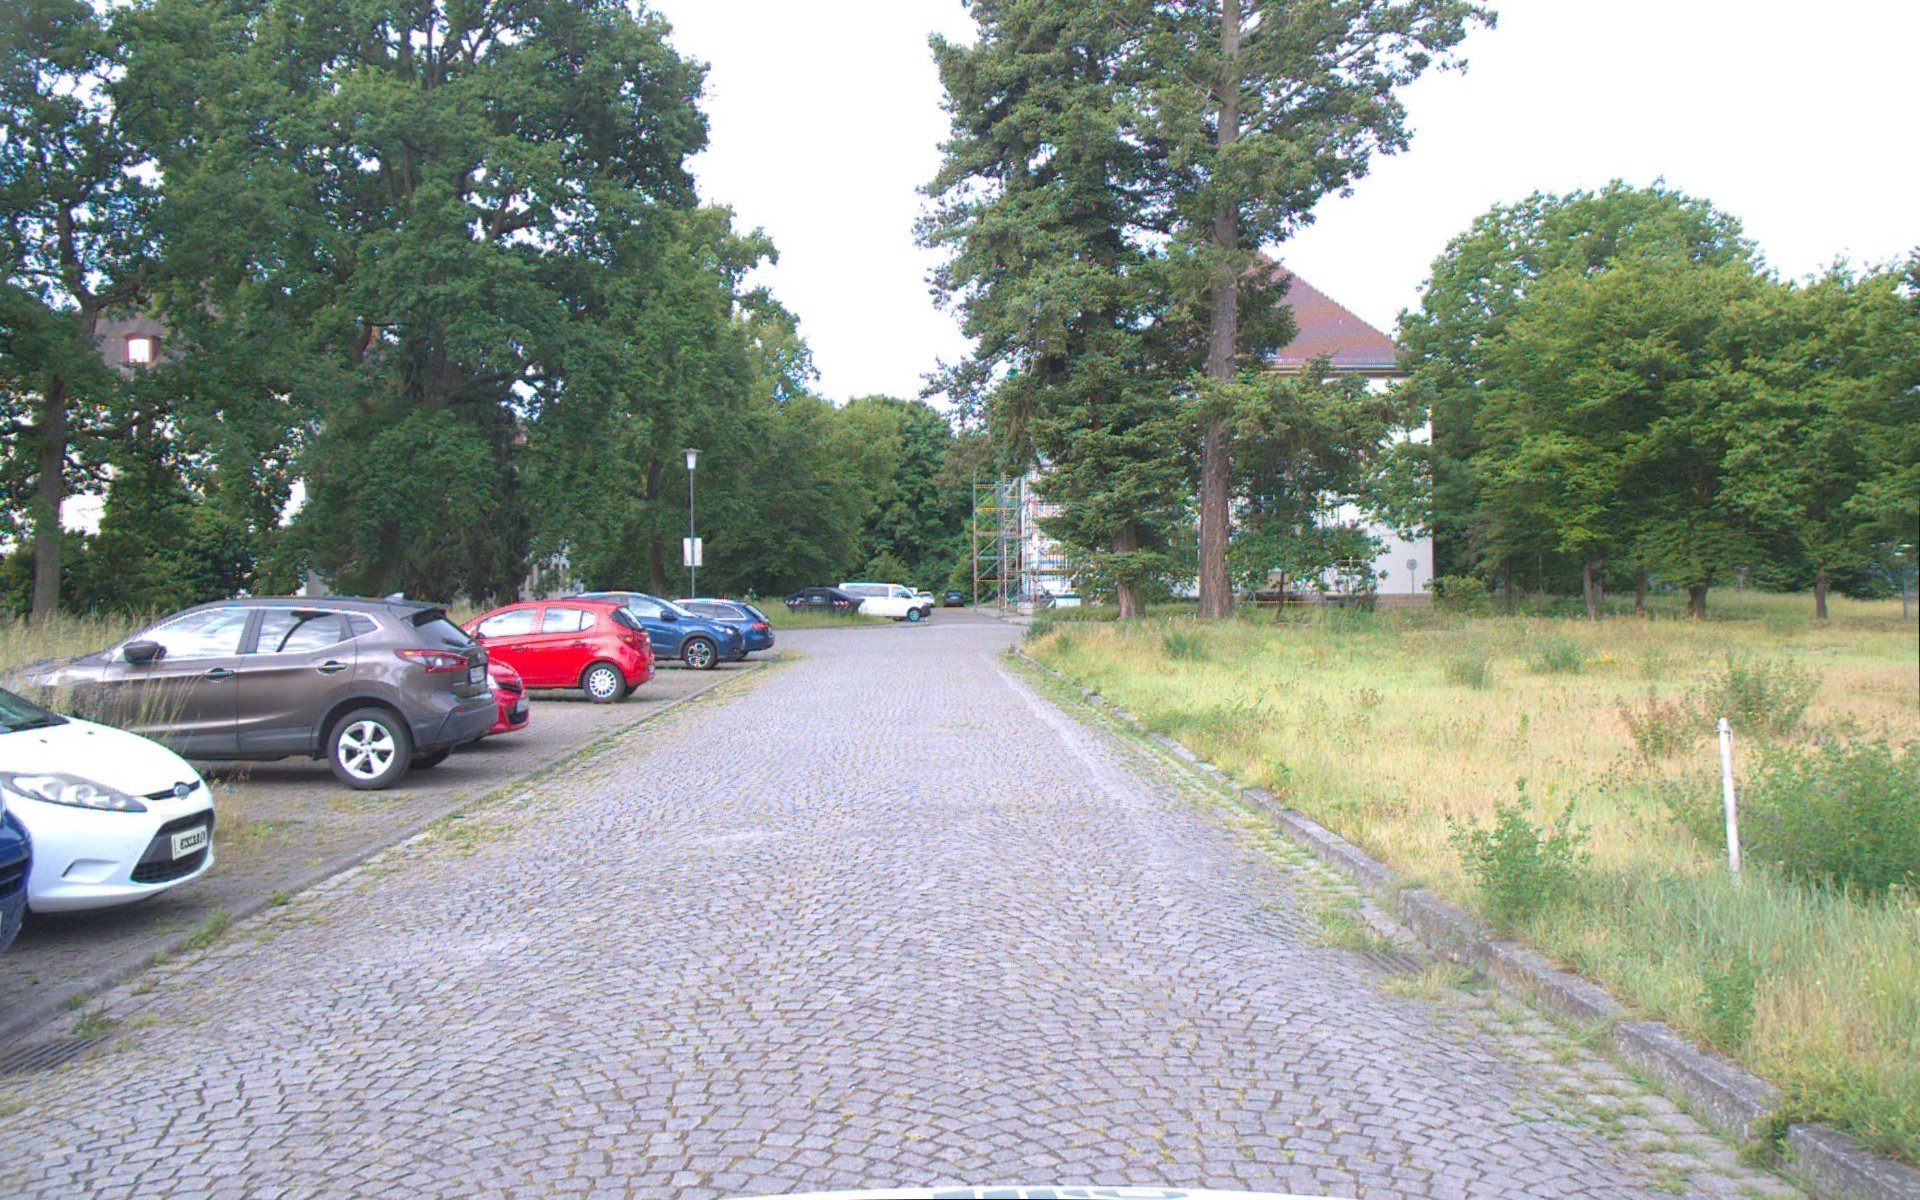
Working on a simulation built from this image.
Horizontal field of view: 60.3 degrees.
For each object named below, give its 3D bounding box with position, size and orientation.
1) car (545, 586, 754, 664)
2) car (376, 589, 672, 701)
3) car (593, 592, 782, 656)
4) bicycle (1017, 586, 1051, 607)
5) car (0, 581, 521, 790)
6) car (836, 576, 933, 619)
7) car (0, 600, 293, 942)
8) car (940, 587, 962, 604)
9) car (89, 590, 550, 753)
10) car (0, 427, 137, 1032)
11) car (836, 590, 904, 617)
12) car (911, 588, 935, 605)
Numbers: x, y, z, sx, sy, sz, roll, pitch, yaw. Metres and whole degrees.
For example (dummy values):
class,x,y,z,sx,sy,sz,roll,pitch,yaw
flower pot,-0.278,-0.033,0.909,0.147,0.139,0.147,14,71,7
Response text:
class,x,y,z,sx,sy,sz,roll,pitch,yaw
car,-6.547,0.518,35.260,4.144,1.604,1.886,0,0,-3
car,-6.496,0.649,25.006,3.974,1.551,1.904,-1,0,-3
car,-6.532,0.564,39.978,4.215,1.486,1.975,0,0,0
bicycle,4.756,-0.225,106.377,2.194,1.276,0.778,-1,0,0
car,-6.172,0.690,14.642,4.084,1.650,1.985,-1,0,-4
car,-4.062,-0.122,88.884,5.131,2.206,1.998,-1,0,-4
car,-5.783,0.810,8.361,4.084,1.536,1.780,-1,0,-4
car,-0.857,-0.393,155.289,1.912,1.548,3.998,-1,0,-3
car,-6.574,0.699,17.371,4.083,1.536,1.906,-1,0,-3
car,-5.770,0.495,5.770,4.686,2.159,2.114,-1,0,-3
car,-4.969,0.193,91.450,3.714,1.420,1.998,-1,0,-4
car,-3.472,-0.338,154.911,2.076,1.548,3.998,-1,0,-3
